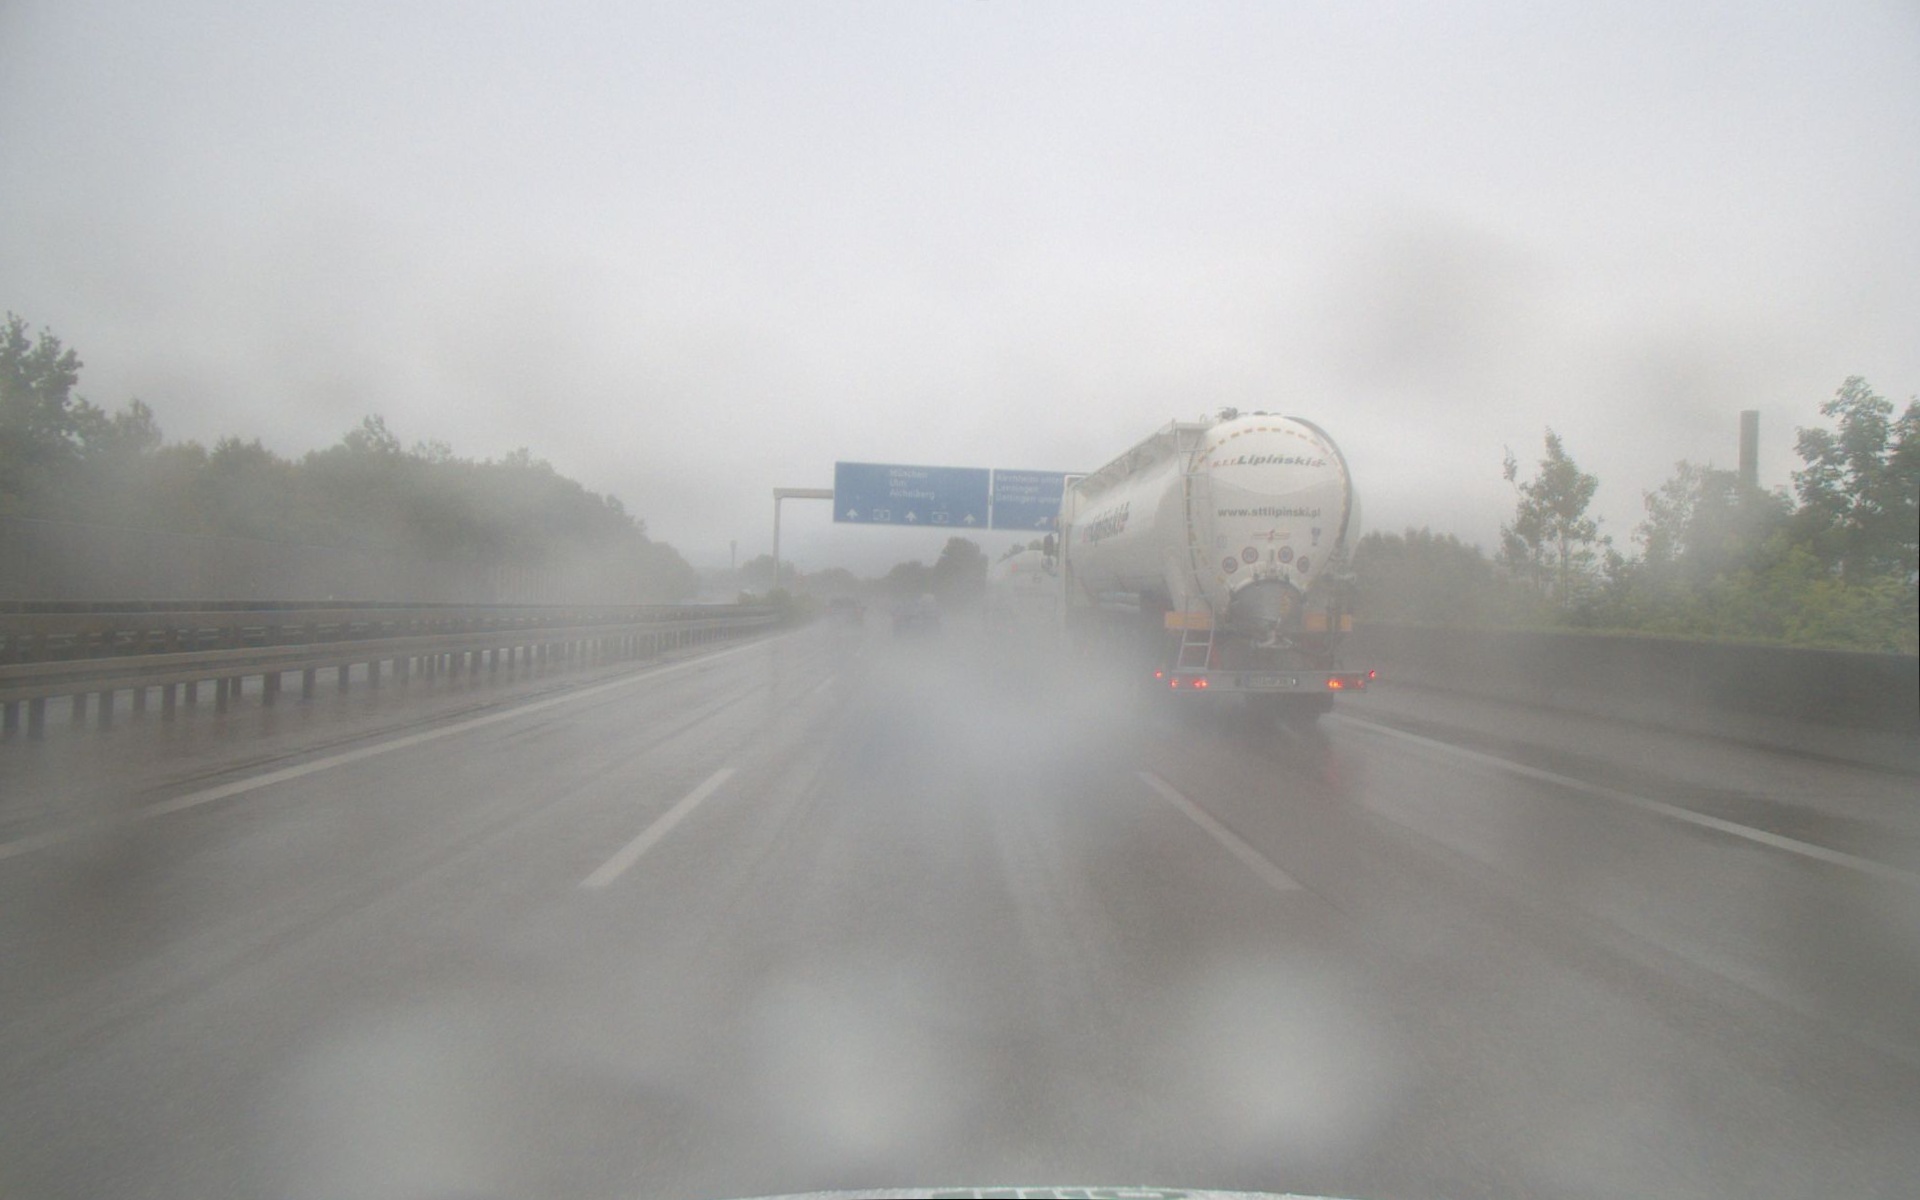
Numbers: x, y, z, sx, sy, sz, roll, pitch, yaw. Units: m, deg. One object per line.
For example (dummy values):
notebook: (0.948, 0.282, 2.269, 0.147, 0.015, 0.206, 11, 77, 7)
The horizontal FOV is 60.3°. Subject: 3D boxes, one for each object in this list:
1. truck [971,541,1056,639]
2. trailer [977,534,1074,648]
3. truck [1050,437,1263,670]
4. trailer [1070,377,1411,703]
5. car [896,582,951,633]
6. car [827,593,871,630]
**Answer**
truck: (2.093, -0.394, 67.159, 2.885, 3.749, 6.358, 1, 0, -3)
trailer: (2.335, -0.317, 62.029, 2.944, 3.915, 8.619, 1, 0, -2)
truck: (3.510, -0.797, 31.521, 3.041, 3.873, 7.211, 1, 0, -1)
trailer: (3.654, -0.730, 25.085, 3.123, 3.734, 11.666, 1, 0, 0)
car: (-1.312, 0.243, 60.784, 1.938, 1.787, 4.480, 0, 0, -1)
car: (-5.463, 0.538, 81.652, 1.886, 1.771, 4.403, 0, 1, -1)
